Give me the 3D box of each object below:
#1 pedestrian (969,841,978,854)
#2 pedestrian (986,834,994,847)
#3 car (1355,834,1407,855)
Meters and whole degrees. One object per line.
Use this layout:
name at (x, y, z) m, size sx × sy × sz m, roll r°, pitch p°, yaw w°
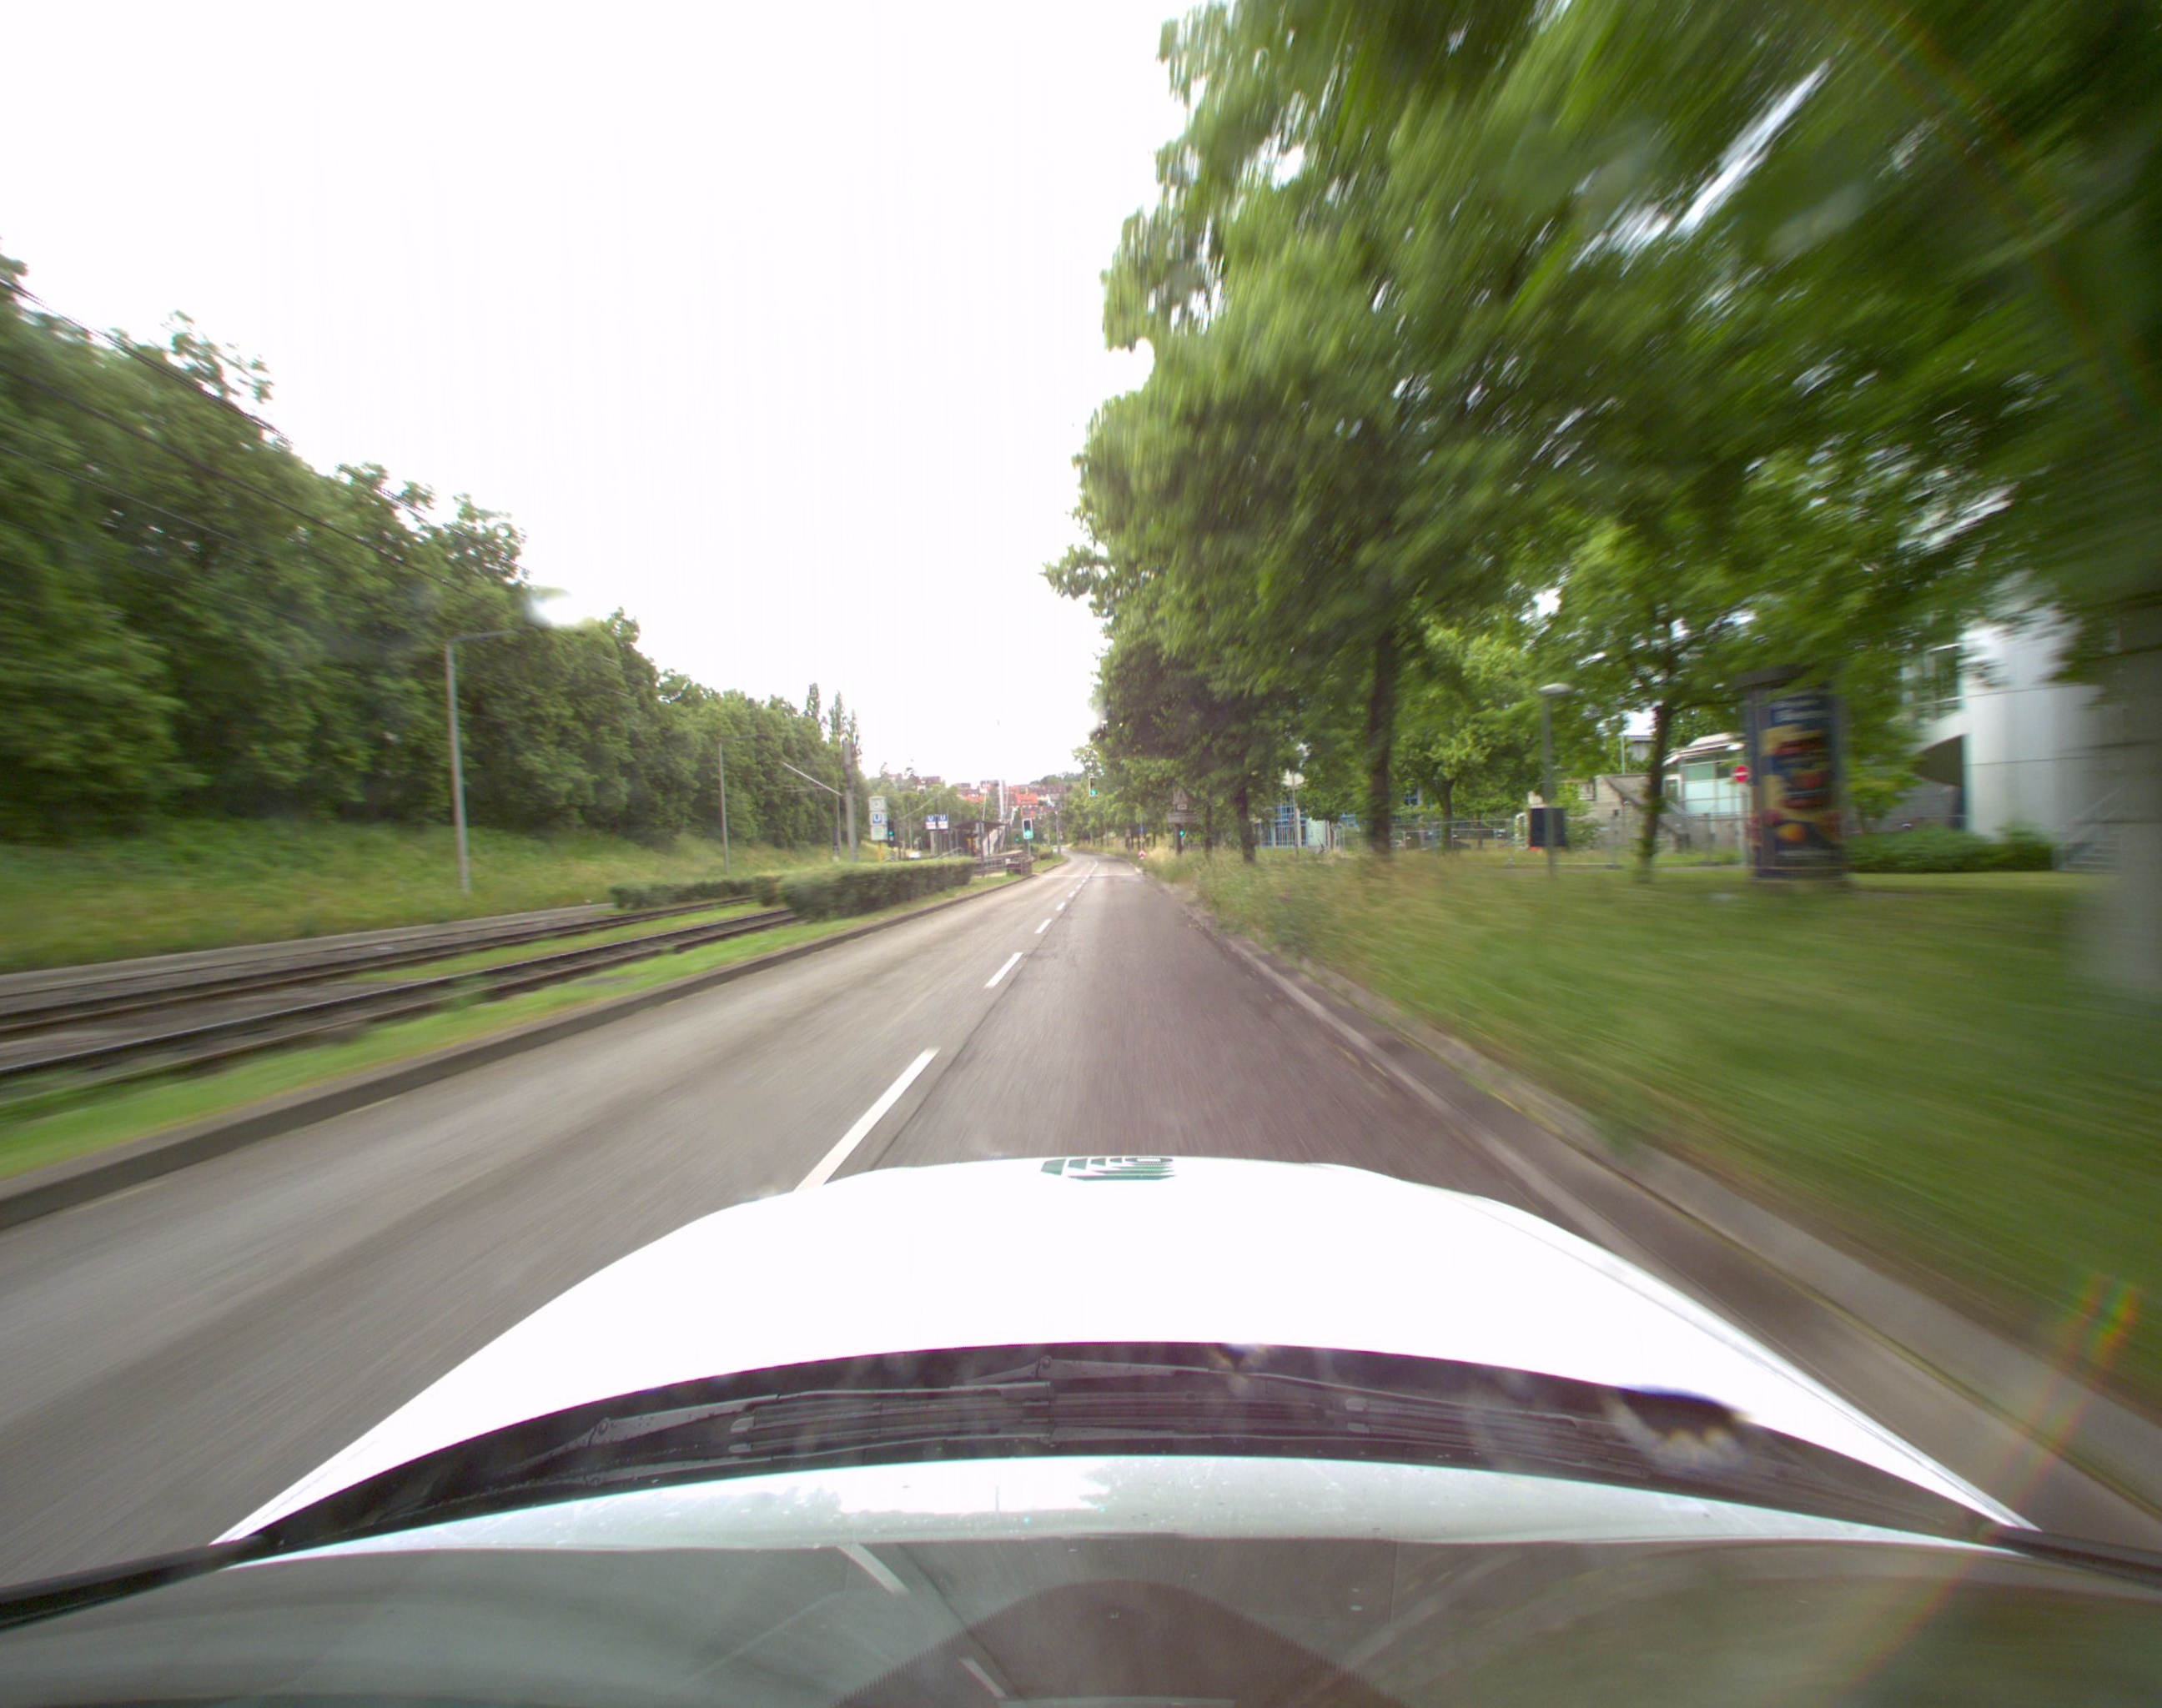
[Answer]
pedestrian at (-11.050, -0.646, 83.792) m, size 0.751 × 1.355 × 0.692 m, roll -2°, pitch 0°, yaw -2°
pedestrian at (-11.771, -1.713, 105.224) m, size 0.932 × 1.611 × 1.026 m, roll -2°, pitch 0°, yaw -2°
car at (26.779, -0.849, 72.763) m, size 4.075 × 1.641 × 1.761 m, roll -2°, pitch 3°, yaw 6°
